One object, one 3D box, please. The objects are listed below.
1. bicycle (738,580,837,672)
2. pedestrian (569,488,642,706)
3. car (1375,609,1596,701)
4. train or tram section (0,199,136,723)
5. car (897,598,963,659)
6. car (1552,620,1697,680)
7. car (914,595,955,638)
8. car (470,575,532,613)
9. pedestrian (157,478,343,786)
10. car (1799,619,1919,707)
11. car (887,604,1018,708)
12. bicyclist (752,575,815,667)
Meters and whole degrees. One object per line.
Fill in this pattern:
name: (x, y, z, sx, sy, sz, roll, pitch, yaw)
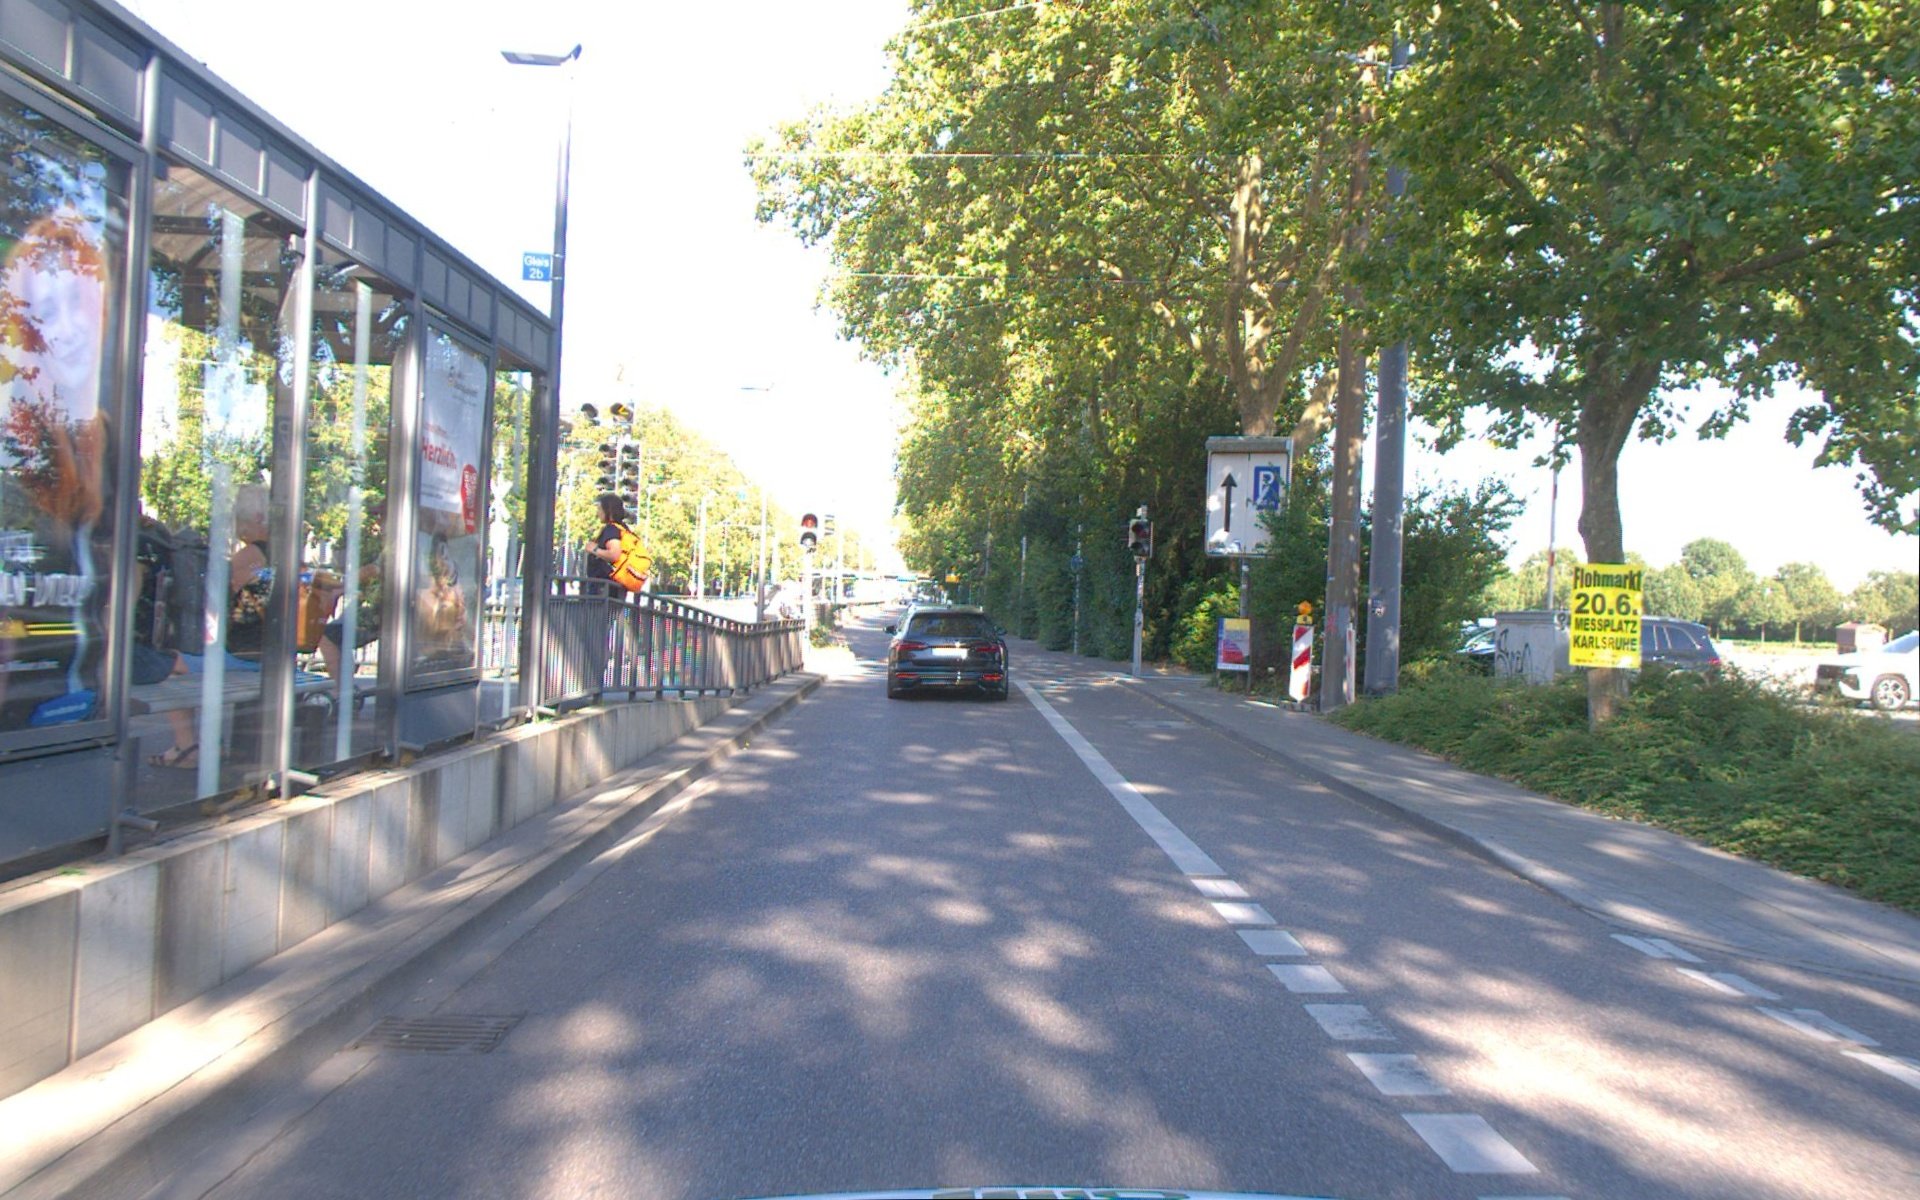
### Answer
bicycle: (-3.388, 0.528, 32.610, 0.581, 1.746, 1.959, 2, 0, 43)
pedestrian: (-2.928, -0.024, 13.698, 0.403, 1.746, 0.665, 3, 0, -2)
car: (9.682, 0.996, 30.659, 3.521, 1.488, 1.678, 2, 0, -1)
train or tram section: (-8.686, -1.093, 8.359, 3.242, 3.896, 11.839, 3, 0, -2)
car: (-0.942, 0.820, 49.597, 1.728, 1.647, 3.997, 2, 0, -4)
car: (20.380, 1.523, 50.835, 3.735, 1.637, 1.670, 3, 0, -1)
car: (-1.284, 0.810, 83.838, 1.953, 2.049, 3.999, 2, 0, -1)
car: (-20.847, -0.262, 75.271, 1.705, 1.574, 3.998, 3, 0, -2)
pedestrian: (-3.184, 0.140, 7.452, 0.555, 1.315, 0.500, 3, 0, -2)
car: (19.963, 1.338, 34.042, 4.366, 1.687, 1.918, 3, 0, 3)
car: (-0.179, 0.825, 25.924, 1.841, 1.482, 3.354, 1, 0, -4)
bicyclist: (-3.471, 0.419, 32.497, 0.758, 1.746, 0.903, 2, 0, 44)
